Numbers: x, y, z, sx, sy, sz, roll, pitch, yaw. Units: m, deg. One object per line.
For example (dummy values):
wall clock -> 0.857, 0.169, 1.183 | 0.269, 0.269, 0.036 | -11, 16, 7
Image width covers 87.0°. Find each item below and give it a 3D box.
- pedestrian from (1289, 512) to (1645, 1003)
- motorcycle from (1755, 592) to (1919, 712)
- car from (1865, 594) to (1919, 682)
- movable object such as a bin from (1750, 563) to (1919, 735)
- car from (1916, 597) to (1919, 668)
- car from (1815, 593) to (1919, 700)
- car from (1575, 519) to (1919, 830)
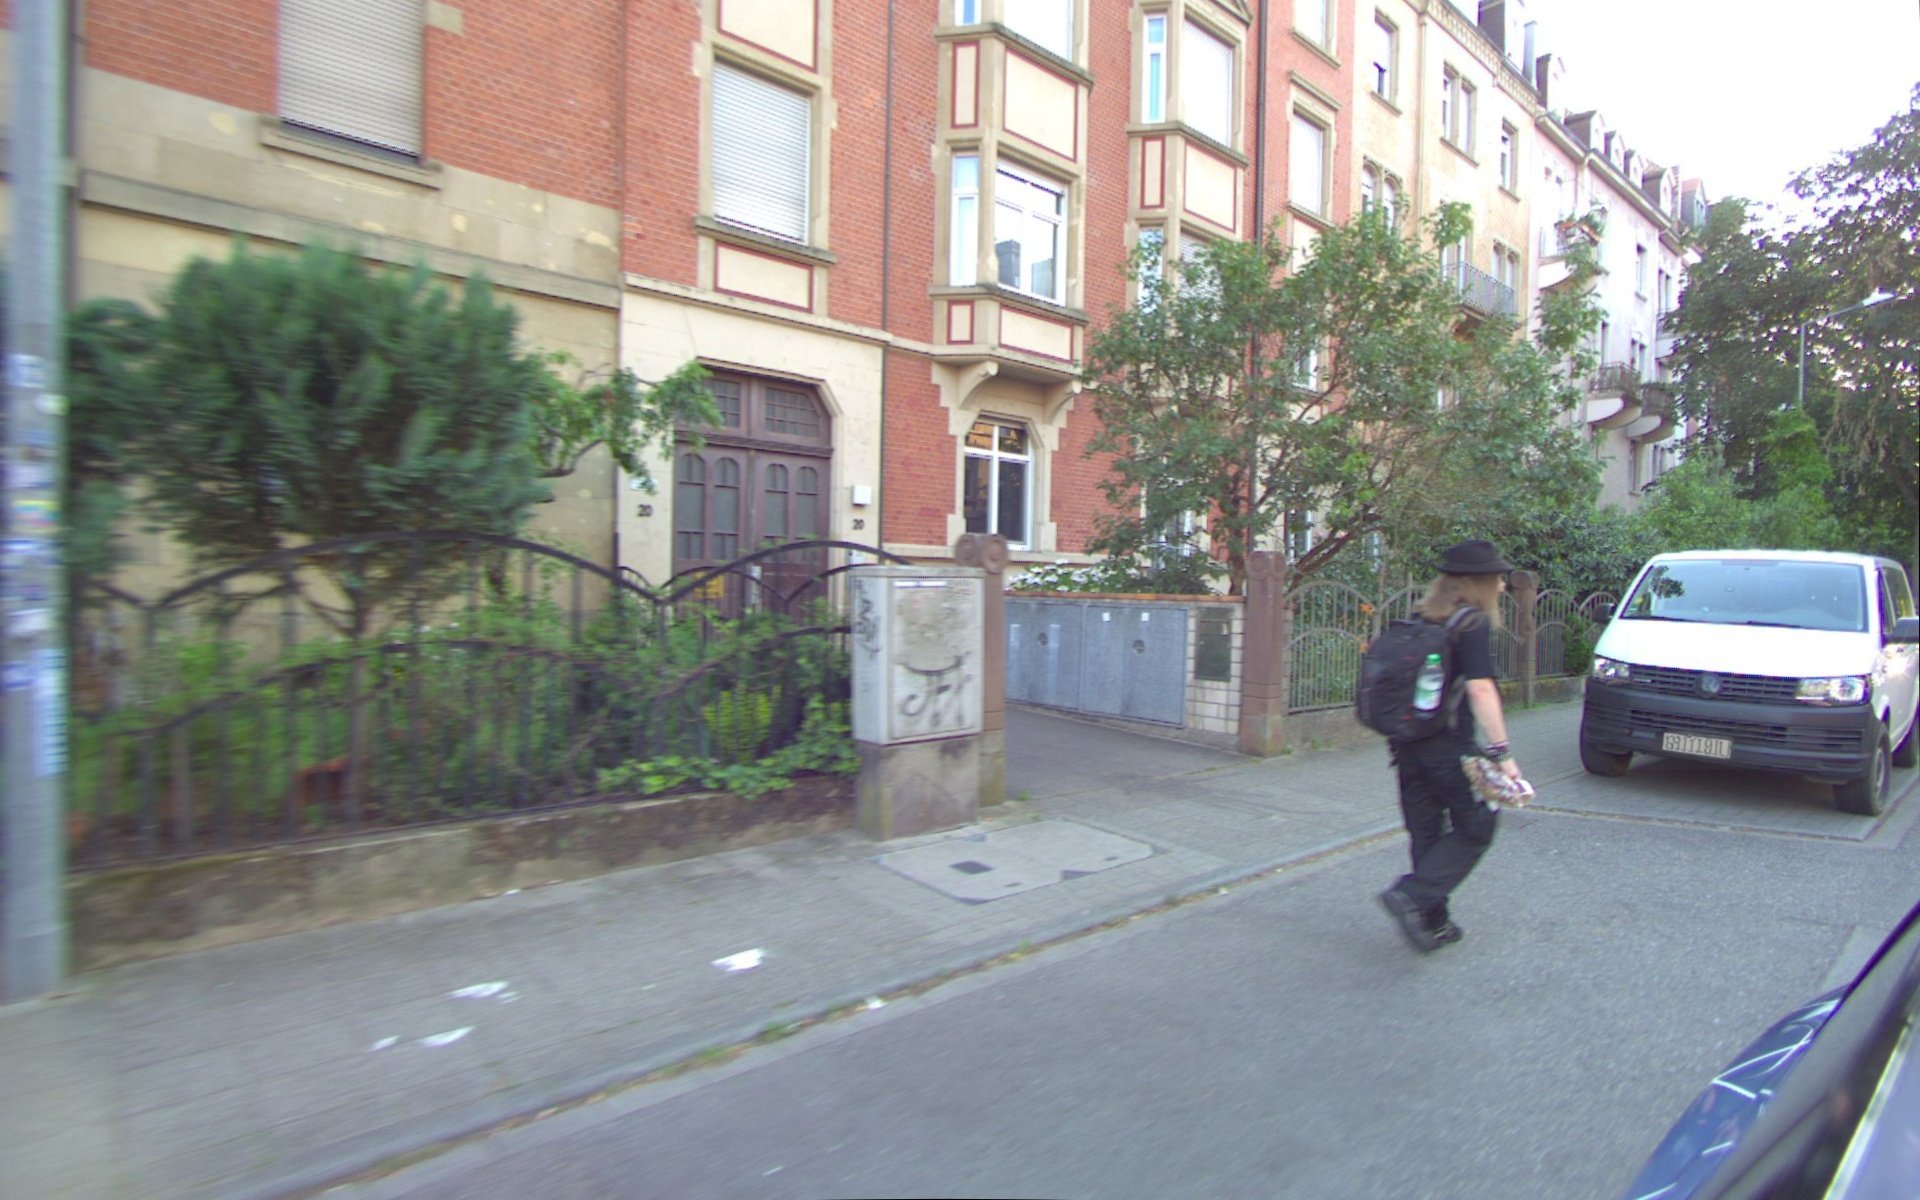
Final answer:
pedestrian -> 2.027, 0.554, 4.154 | 0.938, 1.744, 0.893 | 0, 0, -16
motorcycle -> 12.513, 0.698, 13.959 | 2.066, 1.500, 1.128 | 3, 2, 16
car -> 19.468, 0.689, 19.920 | 4.755, 1.602, 1.760 | 0, 0, -40
movable object such as a bin -> 11.079, 0.527, 12.685 | 2.285, 1.900, 1.414 | 0, 3, -42
car -> 22.868, 0.702, 22.744 | 3.538, 1.544, 1.589 | 0, 0, -40
car -> 15.573, 0.675, 16.533 | 4.248, 1.570, 1.724 | 0, 1, -40
car -> 7.575, 0.430, 9.236 | 5.451, 2.063, 1.864 | 0, 3, -43
